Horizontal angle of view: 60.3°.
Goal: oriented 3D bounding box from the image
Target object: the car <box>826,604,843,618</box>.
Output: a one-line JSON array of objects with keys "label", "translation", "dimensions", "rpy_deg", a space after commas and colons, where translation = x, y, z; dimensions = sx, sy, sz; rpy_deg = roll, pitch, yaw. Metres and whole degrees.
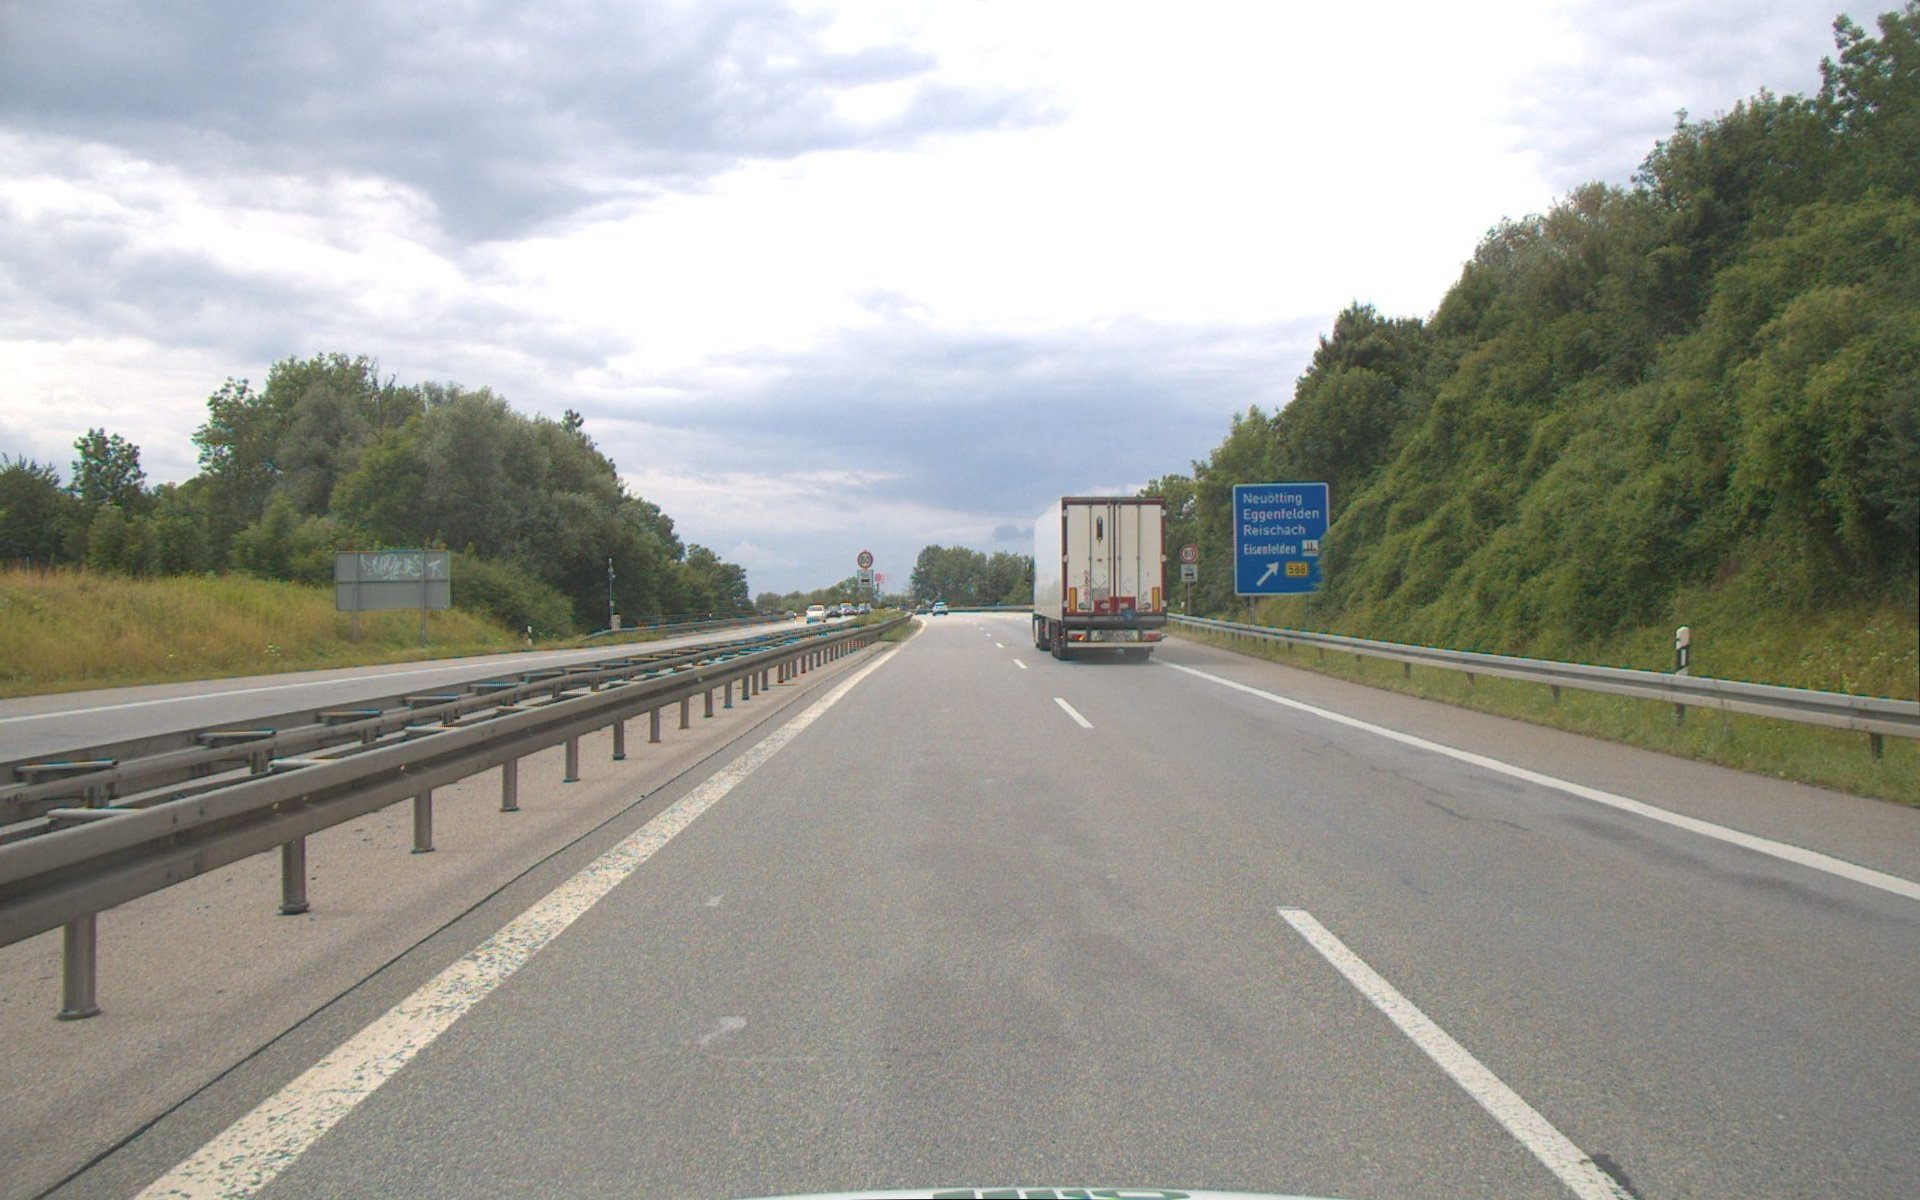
[{"label": "car", "translation": [-15.718, 1.387, 207.169], "dimensions": [1.694, 1.587, 4.331], "rpy_deg": [-2, 0, 0]}]

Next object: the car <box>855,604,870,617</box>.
[{"label": "car", "translation": [-12.336, 1.327, 209.602], "dimensions": [1.690, 1.679, 4.222], "rpy_deg": [0, 0, 0]}]

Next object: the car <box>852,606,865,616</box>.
[{"label": "car", "translation": [-15.662, 1.702, 256.329], "dimensions": [1.808, 1.640, 4.945], "rpy_deg": [0, 0, -1]}]

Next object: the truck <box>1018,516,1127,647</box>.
[{"label": "truck", "translation": [3.579, -0.567, 54.144], "dimensions": [3.000, 3.960, 5.999], "rpy_deg": [-2, 0, 0]}]

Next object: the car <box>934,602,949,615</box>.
[{"label": "car", "translation": [-2.486, 1.203, 223.890], "dimensions": [1.864, 1.668, 4.393], "rpy_deg": [-2, -1, -2]}]

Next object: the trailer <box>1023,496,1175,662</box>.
[{"label": "trailer", "translation": [3.604, -0.503, 46.627], "dimensions": [2.999, 3.959, 13.788], "rpy_deg": [-1, 0, 0]}]

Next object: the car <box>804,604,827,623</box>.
[{"label": "car", "translation": [-12.643, 1.183, 145.330], "dimensions": [1.616, 1.518, 4.282], "rpy_deg": [-2, 1, 0]}]
